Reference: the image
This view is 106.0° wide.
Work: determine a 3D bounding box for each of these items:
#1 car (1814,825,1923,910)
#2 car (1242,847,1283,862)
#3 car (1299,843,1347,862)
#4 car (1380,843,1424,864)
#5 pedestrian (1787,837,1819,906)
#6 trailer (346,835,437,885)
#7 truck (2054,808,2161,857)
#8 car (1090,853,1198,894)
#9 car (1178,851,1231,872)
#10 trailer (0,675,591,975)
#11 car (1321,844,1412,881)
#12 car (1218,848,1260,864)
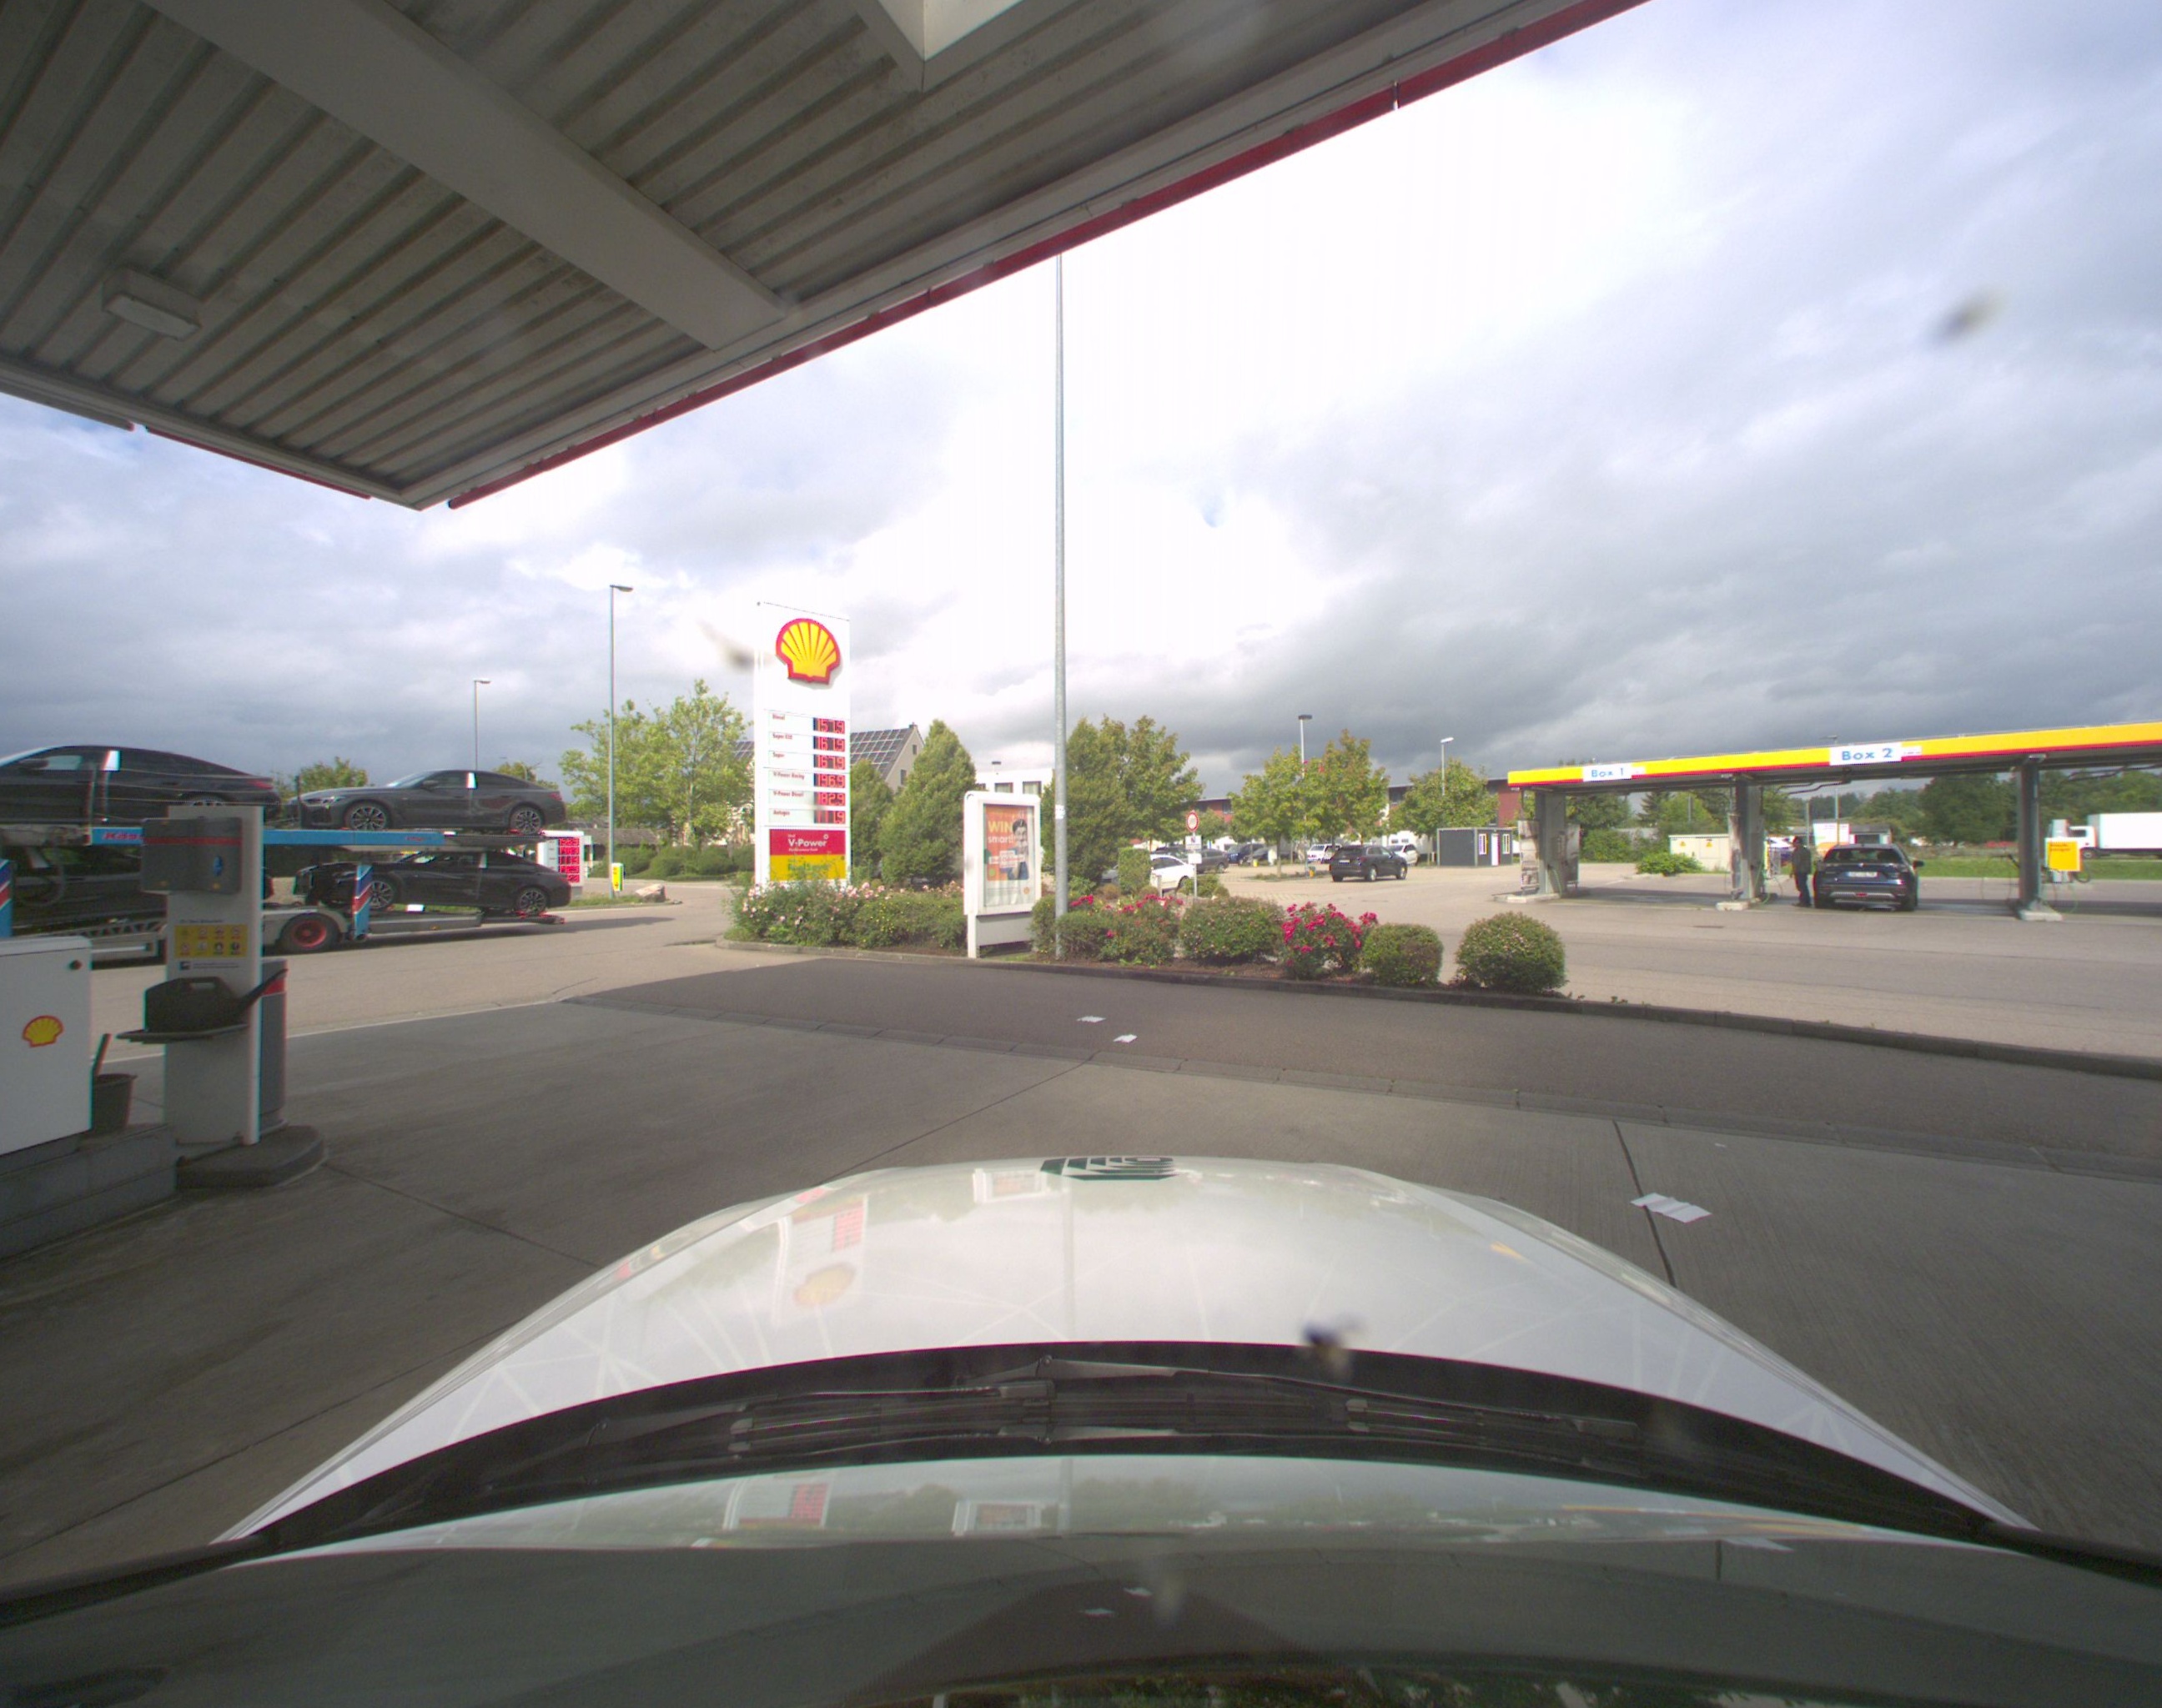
[{"bbox_3d":[19.437,0.314,20.063,3.828,1.897,1.703,0,-1,-43],"label":"car"},{"bbox_3d":[14.490,0.032,64.863,3.437,1.179,1.468,0,-1,-42],"label":"car"},{"bbox_3d":[23.871,-0.125,80.256,4.903,1.833,2.159,0,-1,-41],"label":"car"},{"bbox_3d":[20.605,-0.049,52.203,3.120,1.307,1.352,0,-1,-42],"label":"car"},{"bbox_3d":[18.267,0.438,20.603,0.551,1.722,0.531,-1,-1,38],"label":"pedestrian"},{"bbox_3d":[-56.474,0.528,66.534,12.548,3.776,2.757,-1,-1,36],"label":"trailer"},{"bbox_3d":[78.228,-1.562,59.997,7.989,3.534,2.714,-1,-1,41],"label":"truck"},{"bbox_3d":[2.392,0.682,30.008,4.368,1.404,1.354,0,-1,-42],"label":"car"},{"bbox_3d":[7.537,0.447,49.693,3.245,1.228,1.488,0,-1,-42],"label":"car"},{"bbox_3d":[-16.436,-0.413,13.671,2.711,4.423,14.450,-1,-1,31],"label":"trailer"},{"bbox_3d":[12.874,0.373,36.567,4.527,1.548,1.864,0,-1,-41],"label":"car"},{"bbox_3d":[12.947,0.179,66.647,3.407,1.320,1.726,0,-1,-42],"label":"car"}]
